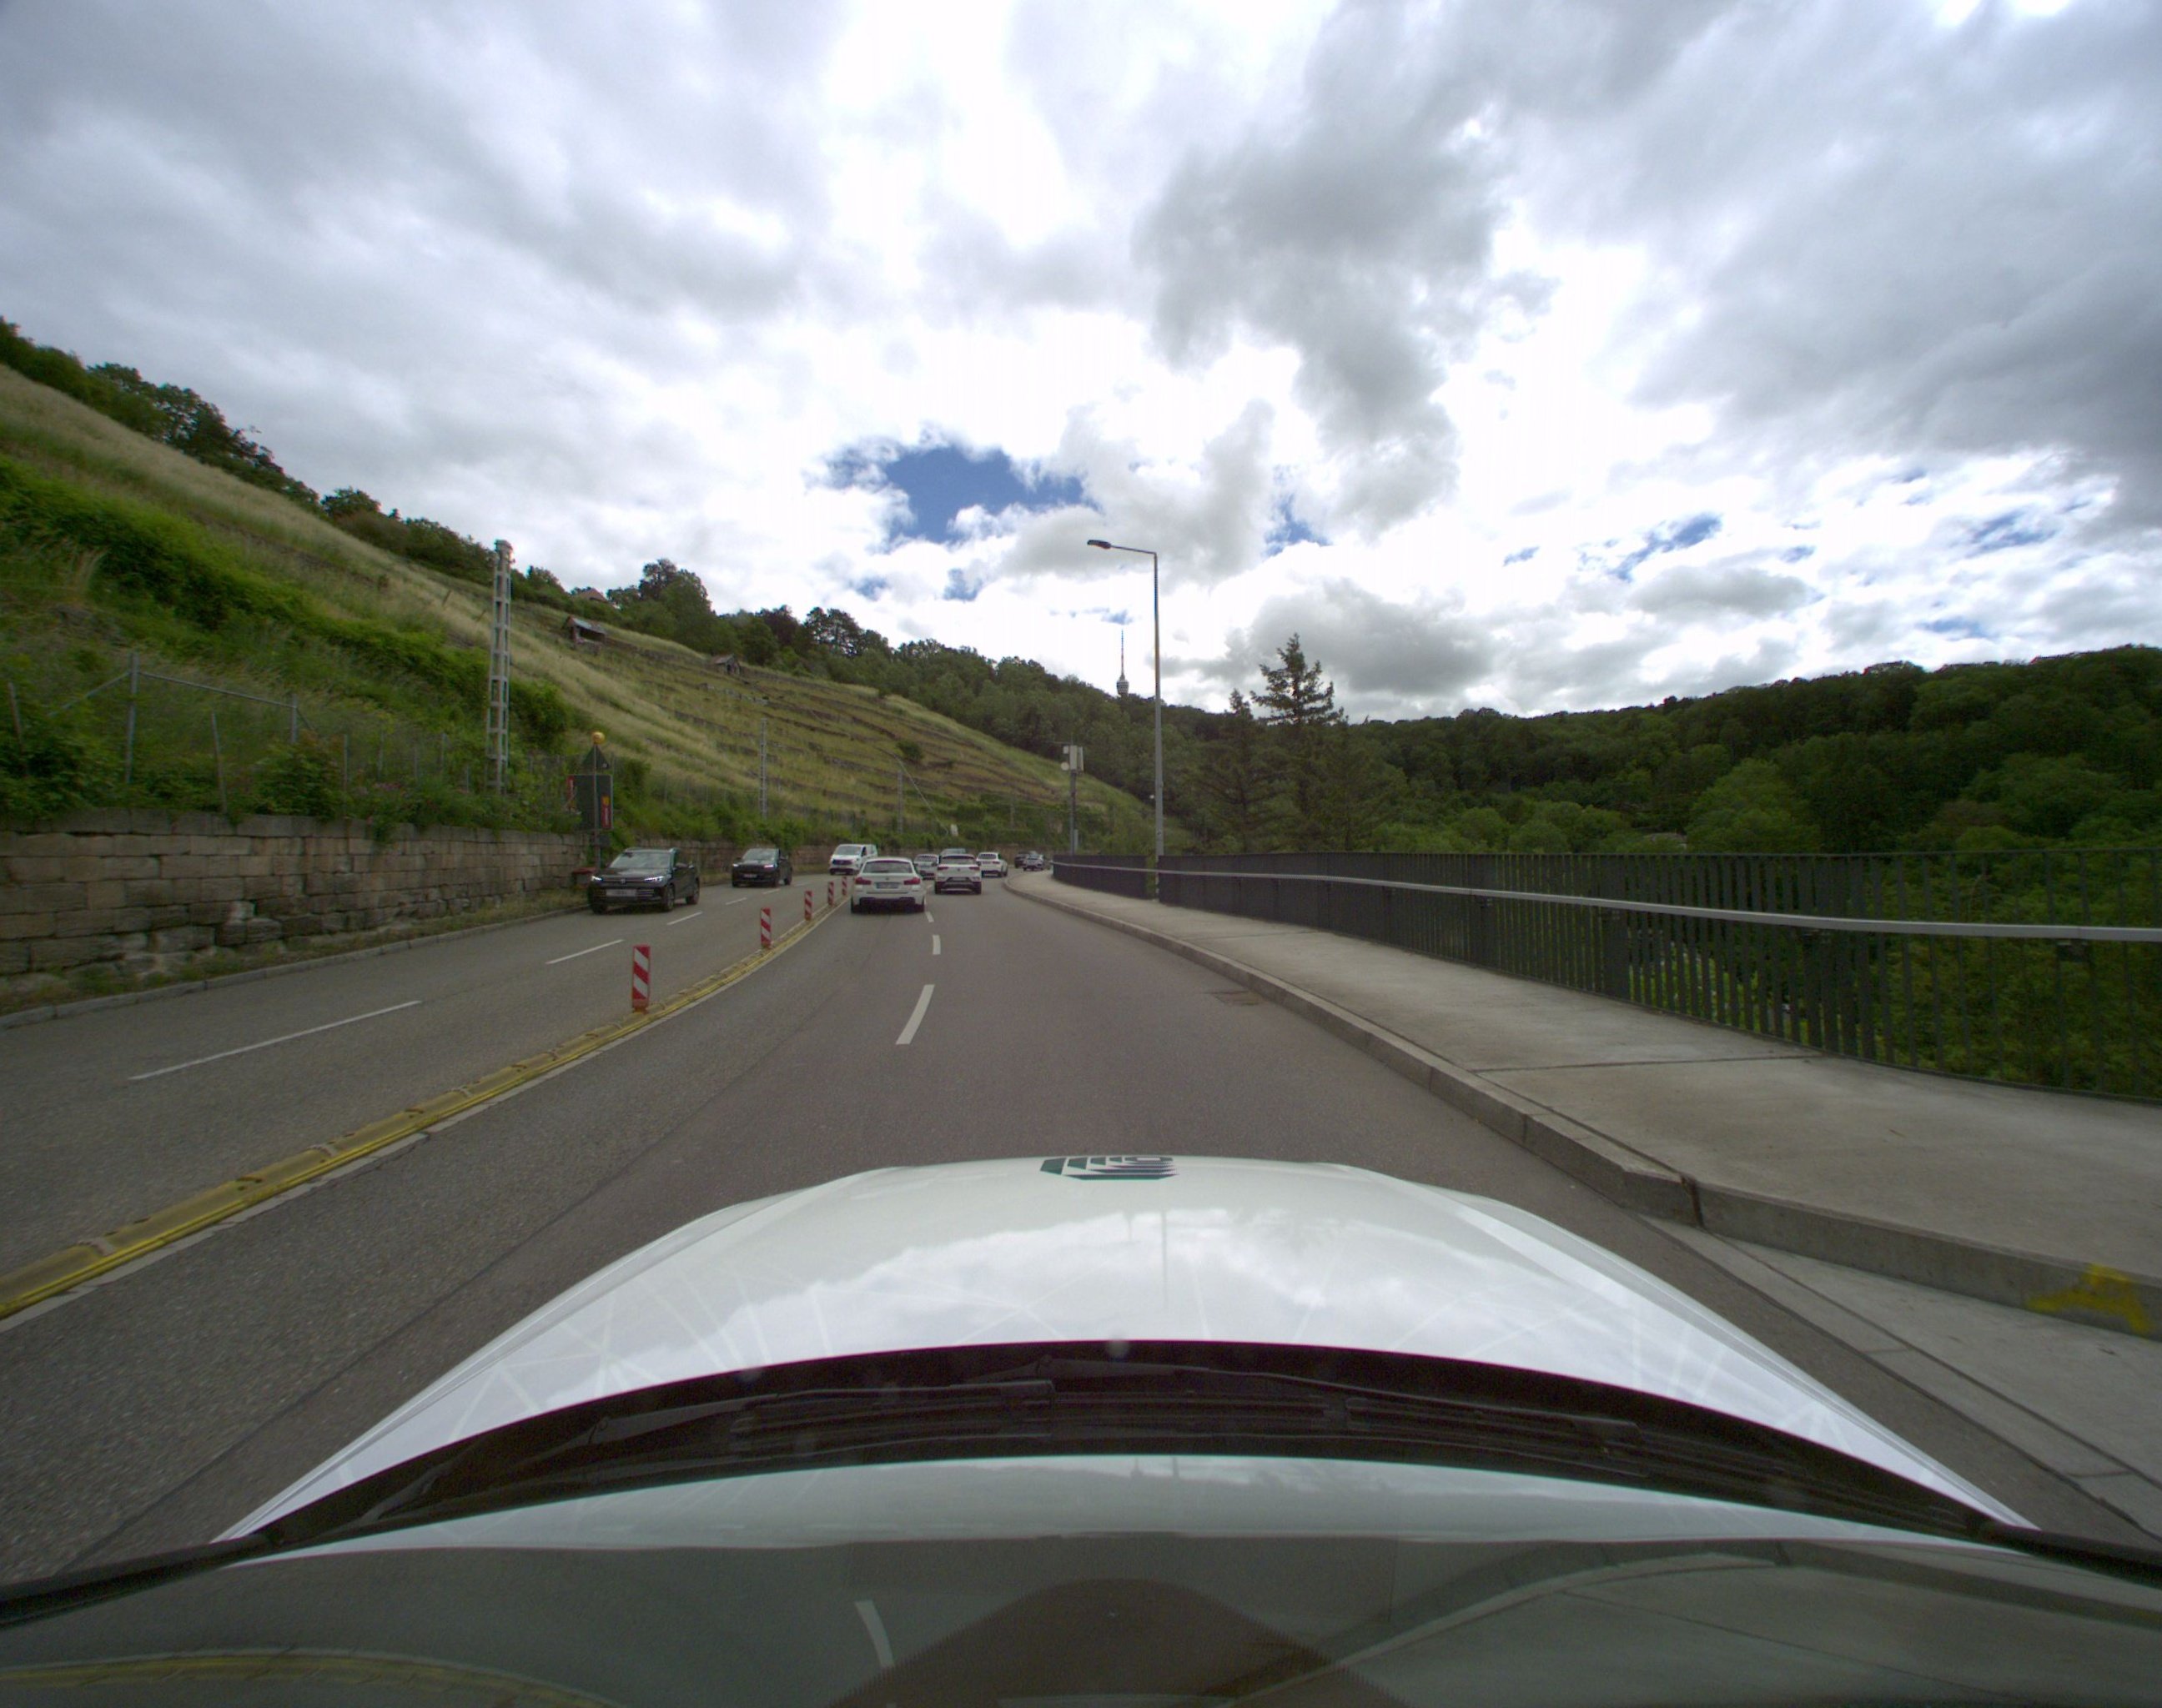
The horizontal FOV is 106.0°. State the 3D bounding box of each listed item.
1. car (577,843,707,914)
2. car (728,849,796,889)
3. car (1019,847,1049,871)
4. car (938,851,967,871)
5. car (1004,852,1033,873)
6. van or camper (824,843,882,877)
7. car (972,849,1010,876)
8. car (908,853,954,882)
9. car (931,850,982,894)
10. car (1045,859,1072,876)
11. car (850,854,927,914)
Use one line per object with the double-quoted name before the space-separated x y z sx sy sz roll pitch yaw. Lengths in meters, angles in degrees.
"car" -11.761 0.592 22.185 1.844 1.726 4.446 -1 0 -11
"car" -13.699 0.623 35.236 1.864 1.624 4.334 0 0 -9
"car" -4.145 0.487 71.821 1.984 2.014 4.005 -3 -2 5
"car" -11.991 0.616 76.481 1.844 1.782 4.734 2 0 1
"car" -6.104 0.846 79.694 1.858 1.762 4.011 -2 -4 11
"van or camper" -14.604 0.340 52.410 2.140 2.016 4.965 2 0 1
"car" -5.939 0.532 54.094 1.987 1.718 4.113 0 0 0
"car" -8.771 0.782 48.090 1.989 1.503 4.661 -4 -1 -3
"car" -4.982 0.694 32.308 1.829 1.606 3.984 1 -1 -11
"car" -2.575 1.551 94.799 1.854 1.762 4.018 -2 -4 19
"car" -5.278 0.762 22.483 1.830 1.460 4.466 2 -1 -13
